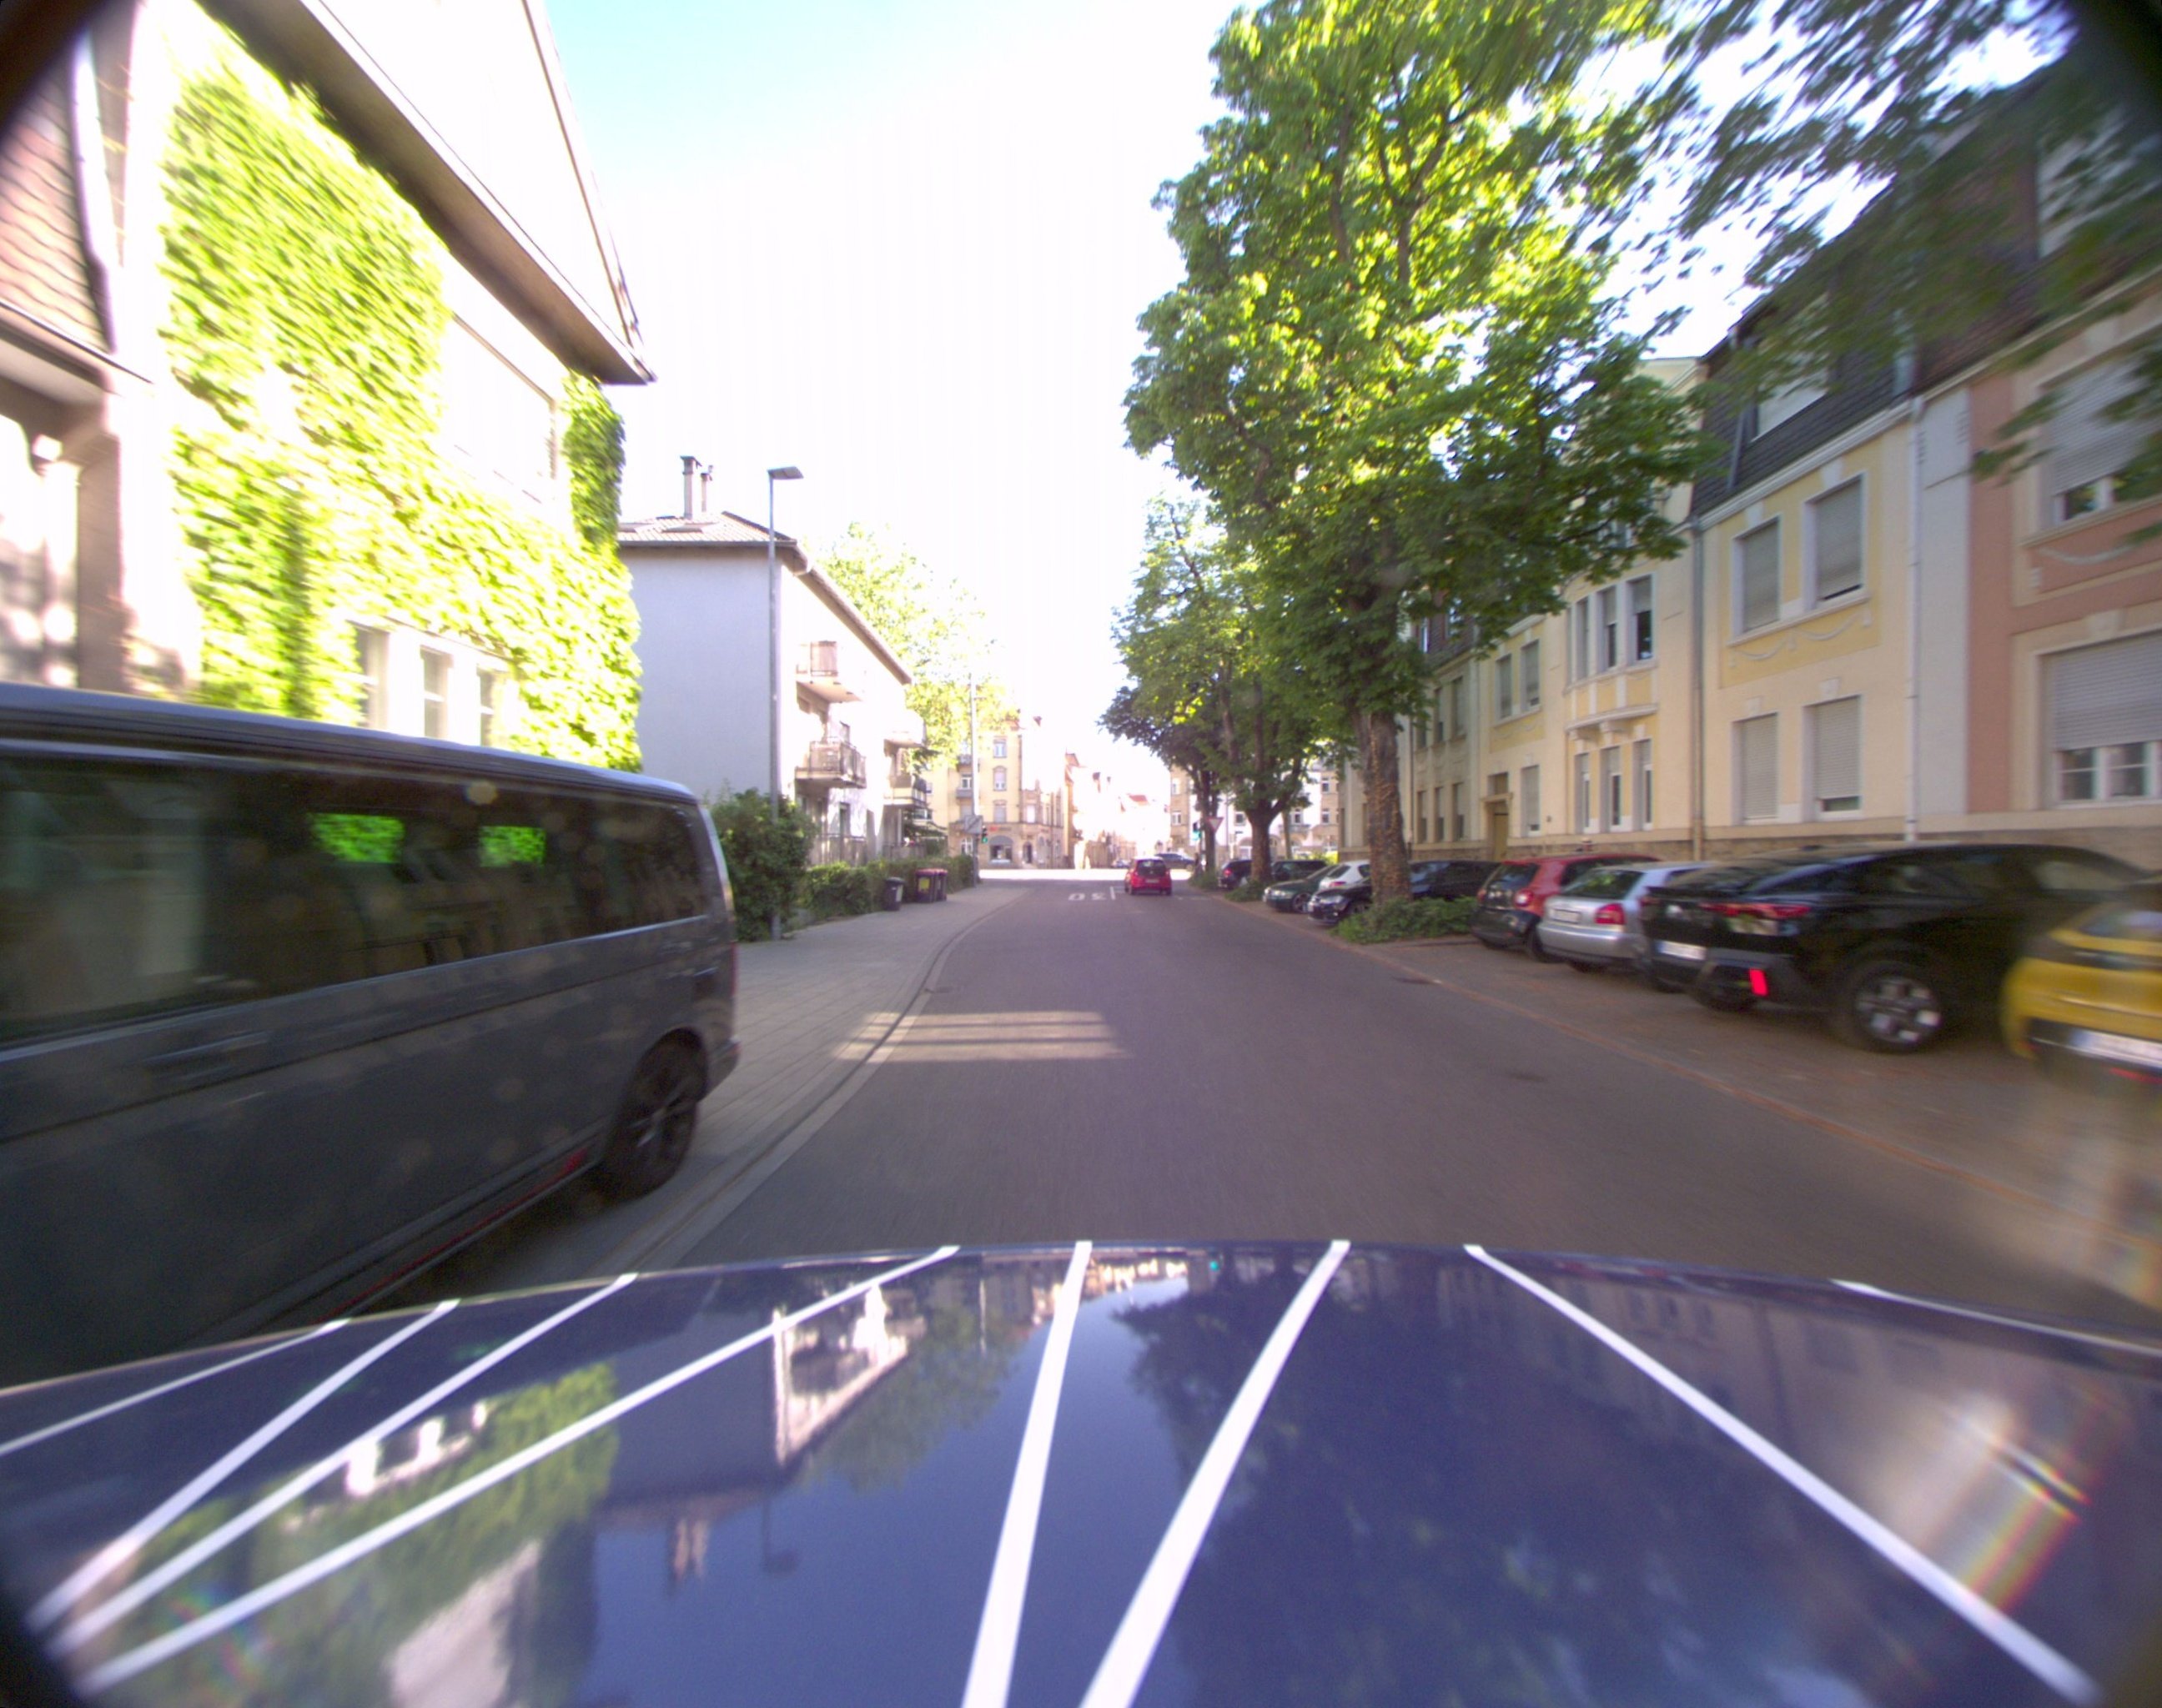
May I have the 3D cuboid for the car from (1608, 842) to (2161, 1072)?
[{"bbox_3d":[7.067,0.740,6.332,3.996,1.557,1.863,-2,1,3],"label":"car"}]

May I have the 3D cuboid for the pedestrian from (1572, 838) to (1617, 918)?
[{"bbox_3d":[10.847,0.493,16.062,0.460,1.648,0.895,-1,1,10],"label":"pedestrian"}]

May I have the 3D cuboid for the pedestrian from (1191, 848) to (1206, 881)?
[{"bbox_3d":[6.173,0.544,39.823,0.695,1.672,0.681,0,1,12],"label":"pedestrian"}]

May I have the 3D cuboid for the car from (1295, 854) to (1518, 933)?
[{"bbox_3d":[6.816,0.803,16.237,3.996,1.474,1.785,-1,1,3],"label":"car"}]

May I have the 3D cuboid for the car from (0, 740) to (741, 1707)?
[{"bbox_3d":[-2.942,0.720,1.898,1.869,1.905,4.783,1,0,2],"label":"car"}]

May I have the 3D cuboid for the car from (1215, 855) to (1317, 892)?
[{"bbox_3d":[7.680,0.808,31.757,3.891,1.467,1.615,0,1,2],"label":"car"}]

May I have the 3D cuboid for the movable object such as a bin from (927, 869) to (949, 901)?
[{"bbox_3d":[-4.858,1.039,25.847,0.598,1.038,0.707,3,1,-1],"label":"movable object such as a bin"}]

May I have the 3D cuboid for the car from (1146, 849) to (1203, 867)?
[{"bbox_3d":[7.360,0.306,59.879,4.208,1.346,1.867,0,0,16],"label":"car"}]

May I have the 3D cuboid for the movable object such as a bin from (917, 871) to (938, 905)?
[{"bbox_3d":[-4.915,1.081,24.349,0.484,1.038,0.618,3,1,-1],"label":"movable object such as a bin"}]

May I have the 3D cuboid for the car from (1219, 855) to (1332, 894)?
[{"bbox_3d":[7.457,0.772,29.271,3.893,1.407,1.614,-1,1,-4],"label":"car"}]

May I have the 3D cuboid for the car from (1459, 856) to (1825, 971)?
[{"bbox_3d":[7.960,0.804,11.099,3.996,1.499,1.722,0,1,3],"label":"car"}]

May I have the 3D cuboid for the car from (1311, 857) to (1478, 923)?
[{"bbox_3d":[7.618,0.854,18.711,3.441,1.444,1.703,-1,1,4],"label":"car"}]

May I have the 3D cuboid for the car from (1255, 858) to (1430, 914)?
[{"bbox_3d":[7.078,0.843,20.873,4.222,1.341,1.703,-1,1,2],"label":"car"}]

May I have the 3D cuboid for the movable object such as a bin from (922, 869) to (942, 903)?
[{"bbox_3d":[-4.906,1.050,25.071,0.484,1.038,0.656,3,1,-1],"label":"movable object such as a bin"}]

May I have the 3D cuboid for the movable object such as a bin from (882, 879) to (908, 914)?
[{"bbox_3d":[-5.177,1.169,21.190,0.504,0.910,0.573,3,1,4],"label":"movable object such as a bin"}]

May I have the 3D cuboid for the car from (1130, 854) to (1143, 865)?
[{"bbox_3d":[7.852,0.728,107.171,1.664,1.455,3.809,-1,0,3],"label":"car"}]

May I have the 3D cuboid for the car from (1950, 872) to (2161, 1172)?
[{"bbox_3d":[7.366,0.831,3.791,3.799,1.453,1.863,-2,1,3],"label":"car"}]

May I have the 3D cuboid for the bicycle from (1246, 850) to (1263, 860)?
[{"bbox_3d":[19.418,0.108,85.152,1.809,1.127,0.610,-1,0,-1],"label":"bicycle"}]

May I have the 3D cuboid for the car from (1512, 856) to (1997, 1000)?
[{"bbox_3d":[7.618,0.797,8.957,3.996,1.395,1.830,-2,1,3],"label":"car"}]

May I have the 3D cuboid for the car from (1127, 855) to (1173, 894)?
[{"bbox_3d":[2.810,0.791,31.456,1.645,1.499,3.702,0,0,1],"label":"car"}]

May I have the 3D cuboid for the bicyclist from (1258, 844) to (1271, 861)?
[{"bbox_3d":[16.955,-0.153,70.169,1.074,1.533,0.687,-1,1,1],"label":"bicyclist"}]

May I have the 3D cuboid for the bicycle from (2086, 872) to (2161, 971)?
[{"bbox_3d":[12.030,0.747,8.306,0.433,1.059,1.255,-1,1,2],"label":"bicycle"}]
